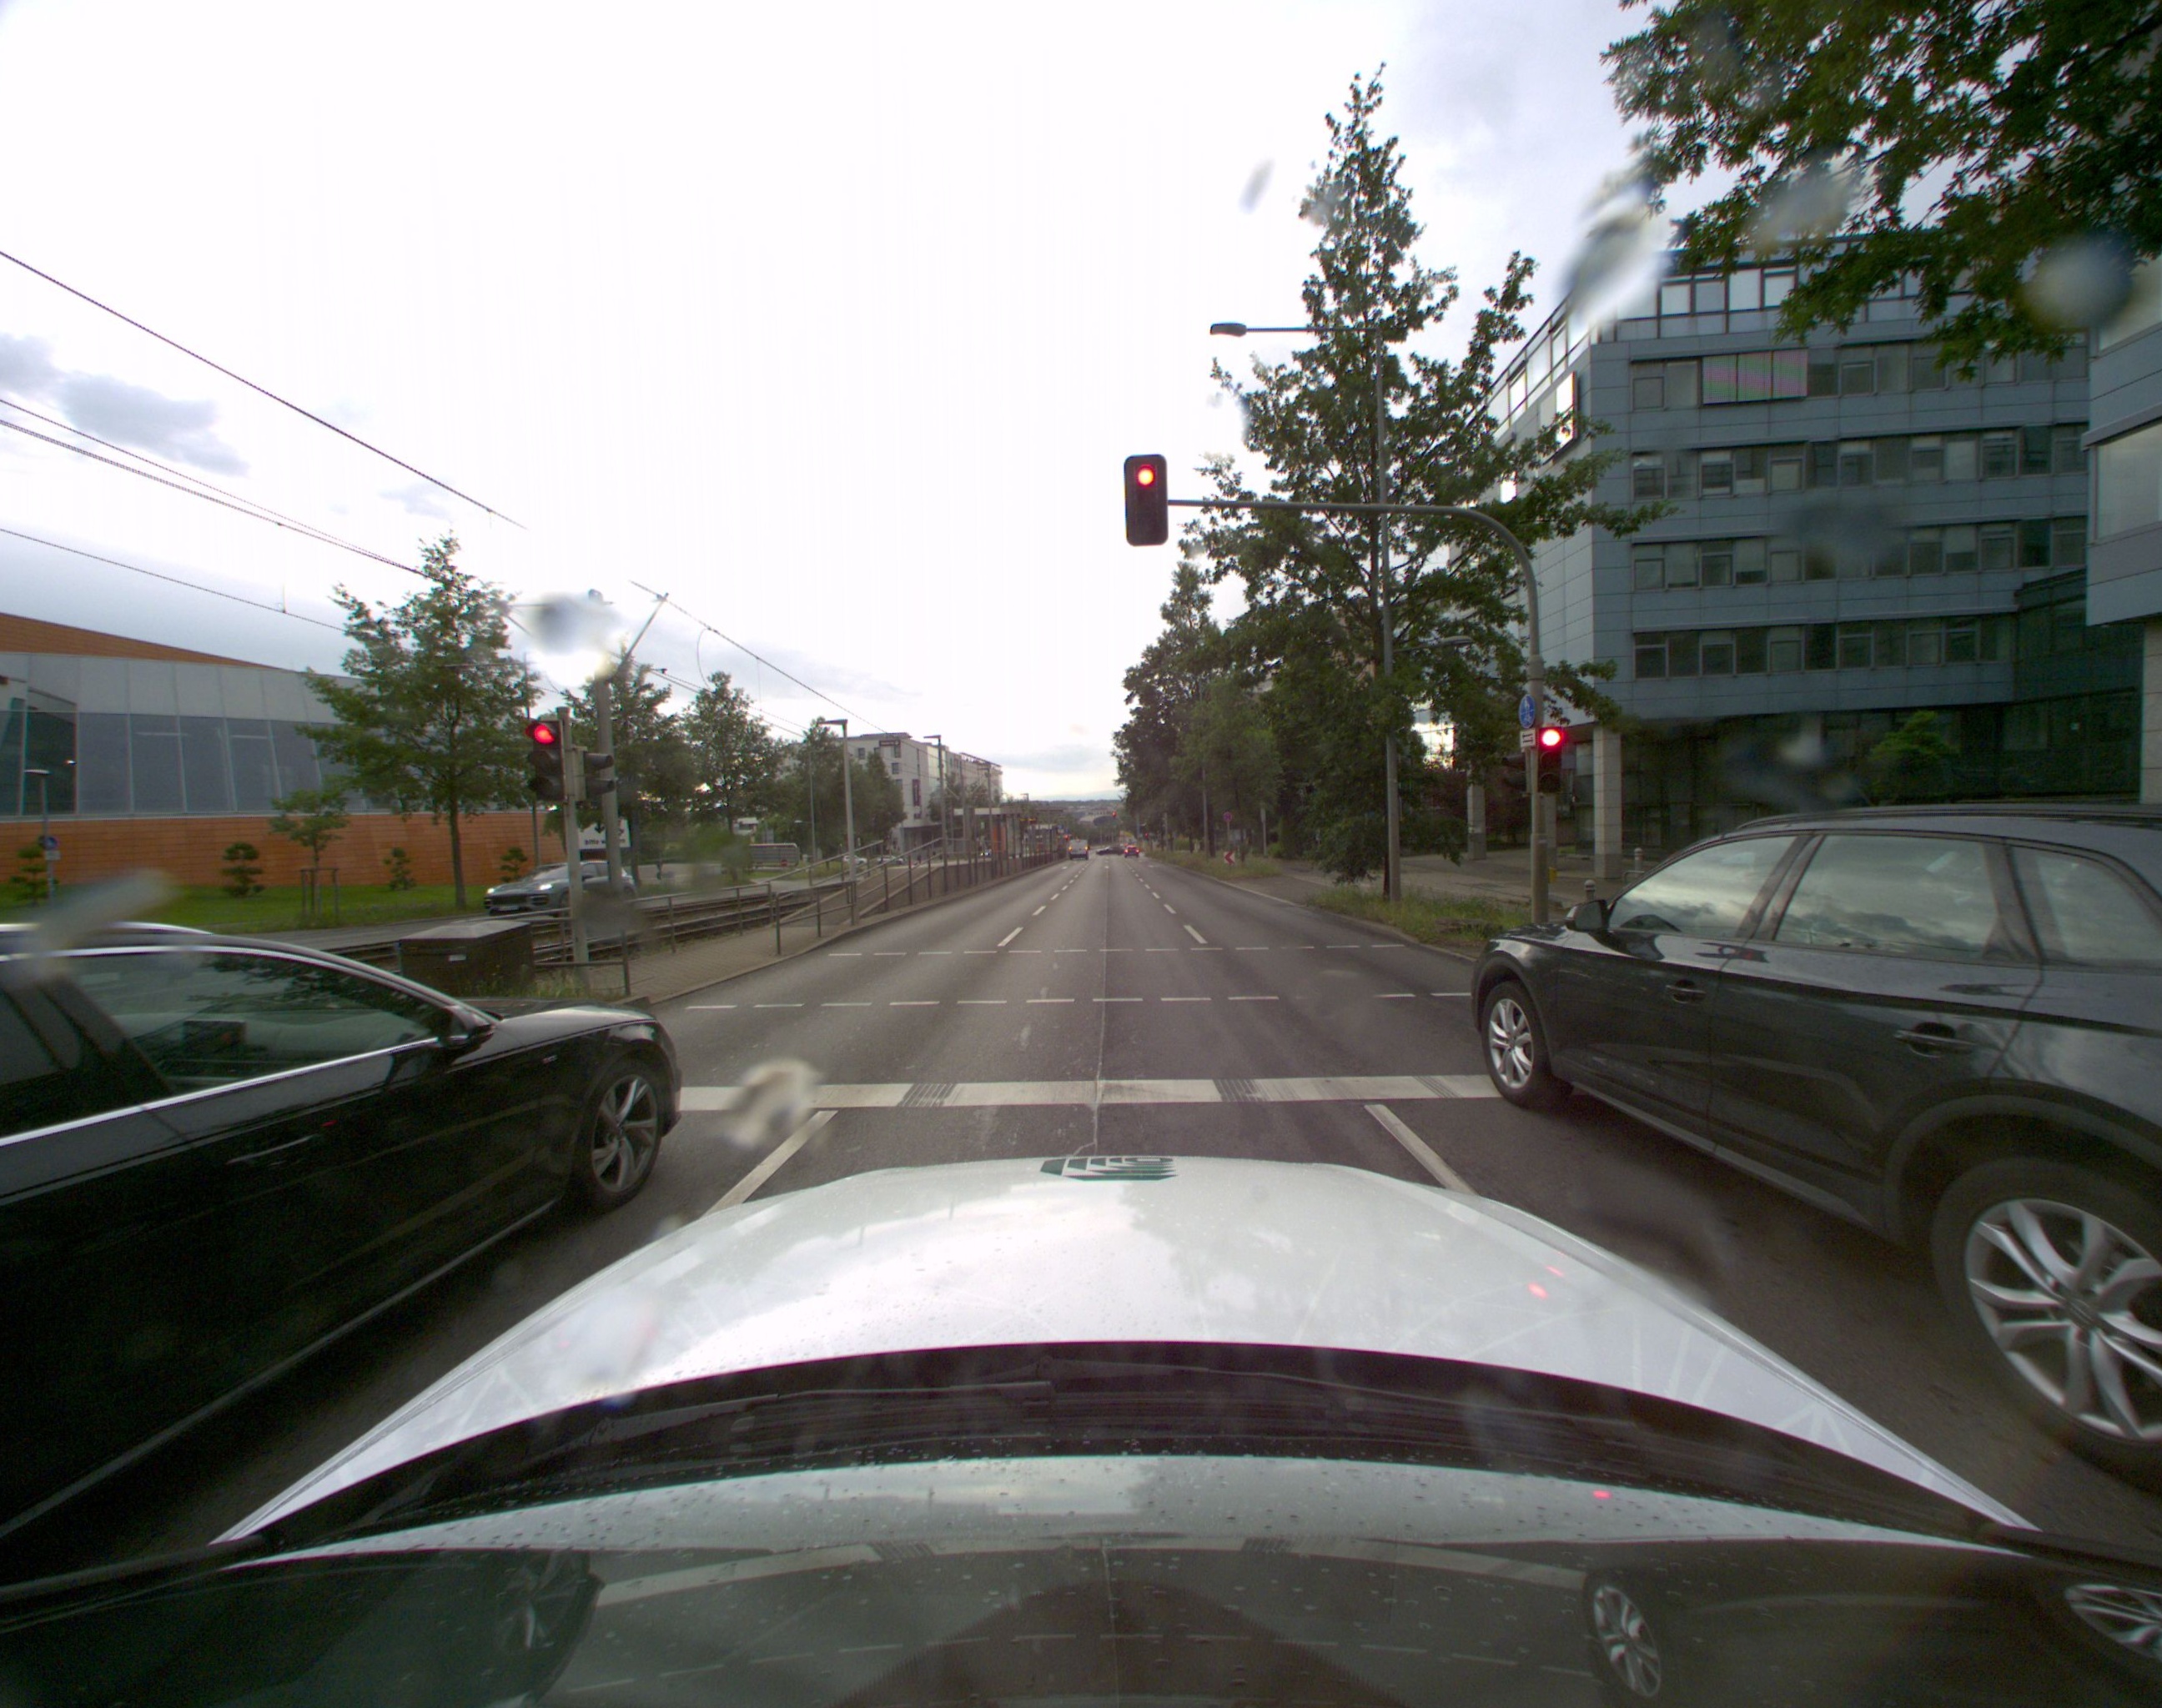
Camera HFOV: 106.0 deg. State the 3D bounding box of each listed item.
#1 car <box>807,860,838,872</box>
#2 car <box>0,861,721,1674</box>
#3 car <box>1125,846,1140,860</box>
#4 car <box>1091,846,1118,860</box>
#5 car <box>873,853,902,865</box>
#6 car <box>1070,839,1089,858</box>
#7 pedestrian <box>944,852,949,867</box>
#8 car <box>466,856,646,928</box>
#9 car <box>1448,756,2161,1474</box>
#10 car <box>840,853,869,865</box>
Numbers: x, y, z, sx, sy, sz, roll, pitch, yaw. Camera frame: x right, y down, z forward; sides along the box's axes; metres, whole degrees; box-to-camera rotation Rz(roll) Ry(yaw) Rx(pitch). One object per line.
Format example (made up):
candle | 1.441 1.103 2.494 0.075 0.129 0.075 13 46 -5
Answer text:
car | -31.269 1.440 98.550 3.341 1.387 1.440 -1 1 18
car | -2.895 0.806 2.107 1.774 1.466 4.515 -1 0 2
car | 6.497 -0.131 102.692 1.767 1.691 3.847 -1 0 2
car | 3.610 -0.181 125.472 3.982 2.013 1.756 -2 0 -7
car | -28.679 0.741 120.724 3.848 1.436 1.658 -4 0 5
car | -0.169 -0.667 93.283 2.086 2.053 4.607 -1 0 1
pedestrian | -17.597 0.690 106.416 0.473 1.920 0.490 -1 0 1
car | -15.187 1.014 23.982 1.986 1.719 4.842 -3 0 1
car | 3.363 0.556 3.313 1.811 1.612 4.472 -1 0 2
car | -34.310 0.763 123.471 4.094 1.436 1.648 -4 0 -13
